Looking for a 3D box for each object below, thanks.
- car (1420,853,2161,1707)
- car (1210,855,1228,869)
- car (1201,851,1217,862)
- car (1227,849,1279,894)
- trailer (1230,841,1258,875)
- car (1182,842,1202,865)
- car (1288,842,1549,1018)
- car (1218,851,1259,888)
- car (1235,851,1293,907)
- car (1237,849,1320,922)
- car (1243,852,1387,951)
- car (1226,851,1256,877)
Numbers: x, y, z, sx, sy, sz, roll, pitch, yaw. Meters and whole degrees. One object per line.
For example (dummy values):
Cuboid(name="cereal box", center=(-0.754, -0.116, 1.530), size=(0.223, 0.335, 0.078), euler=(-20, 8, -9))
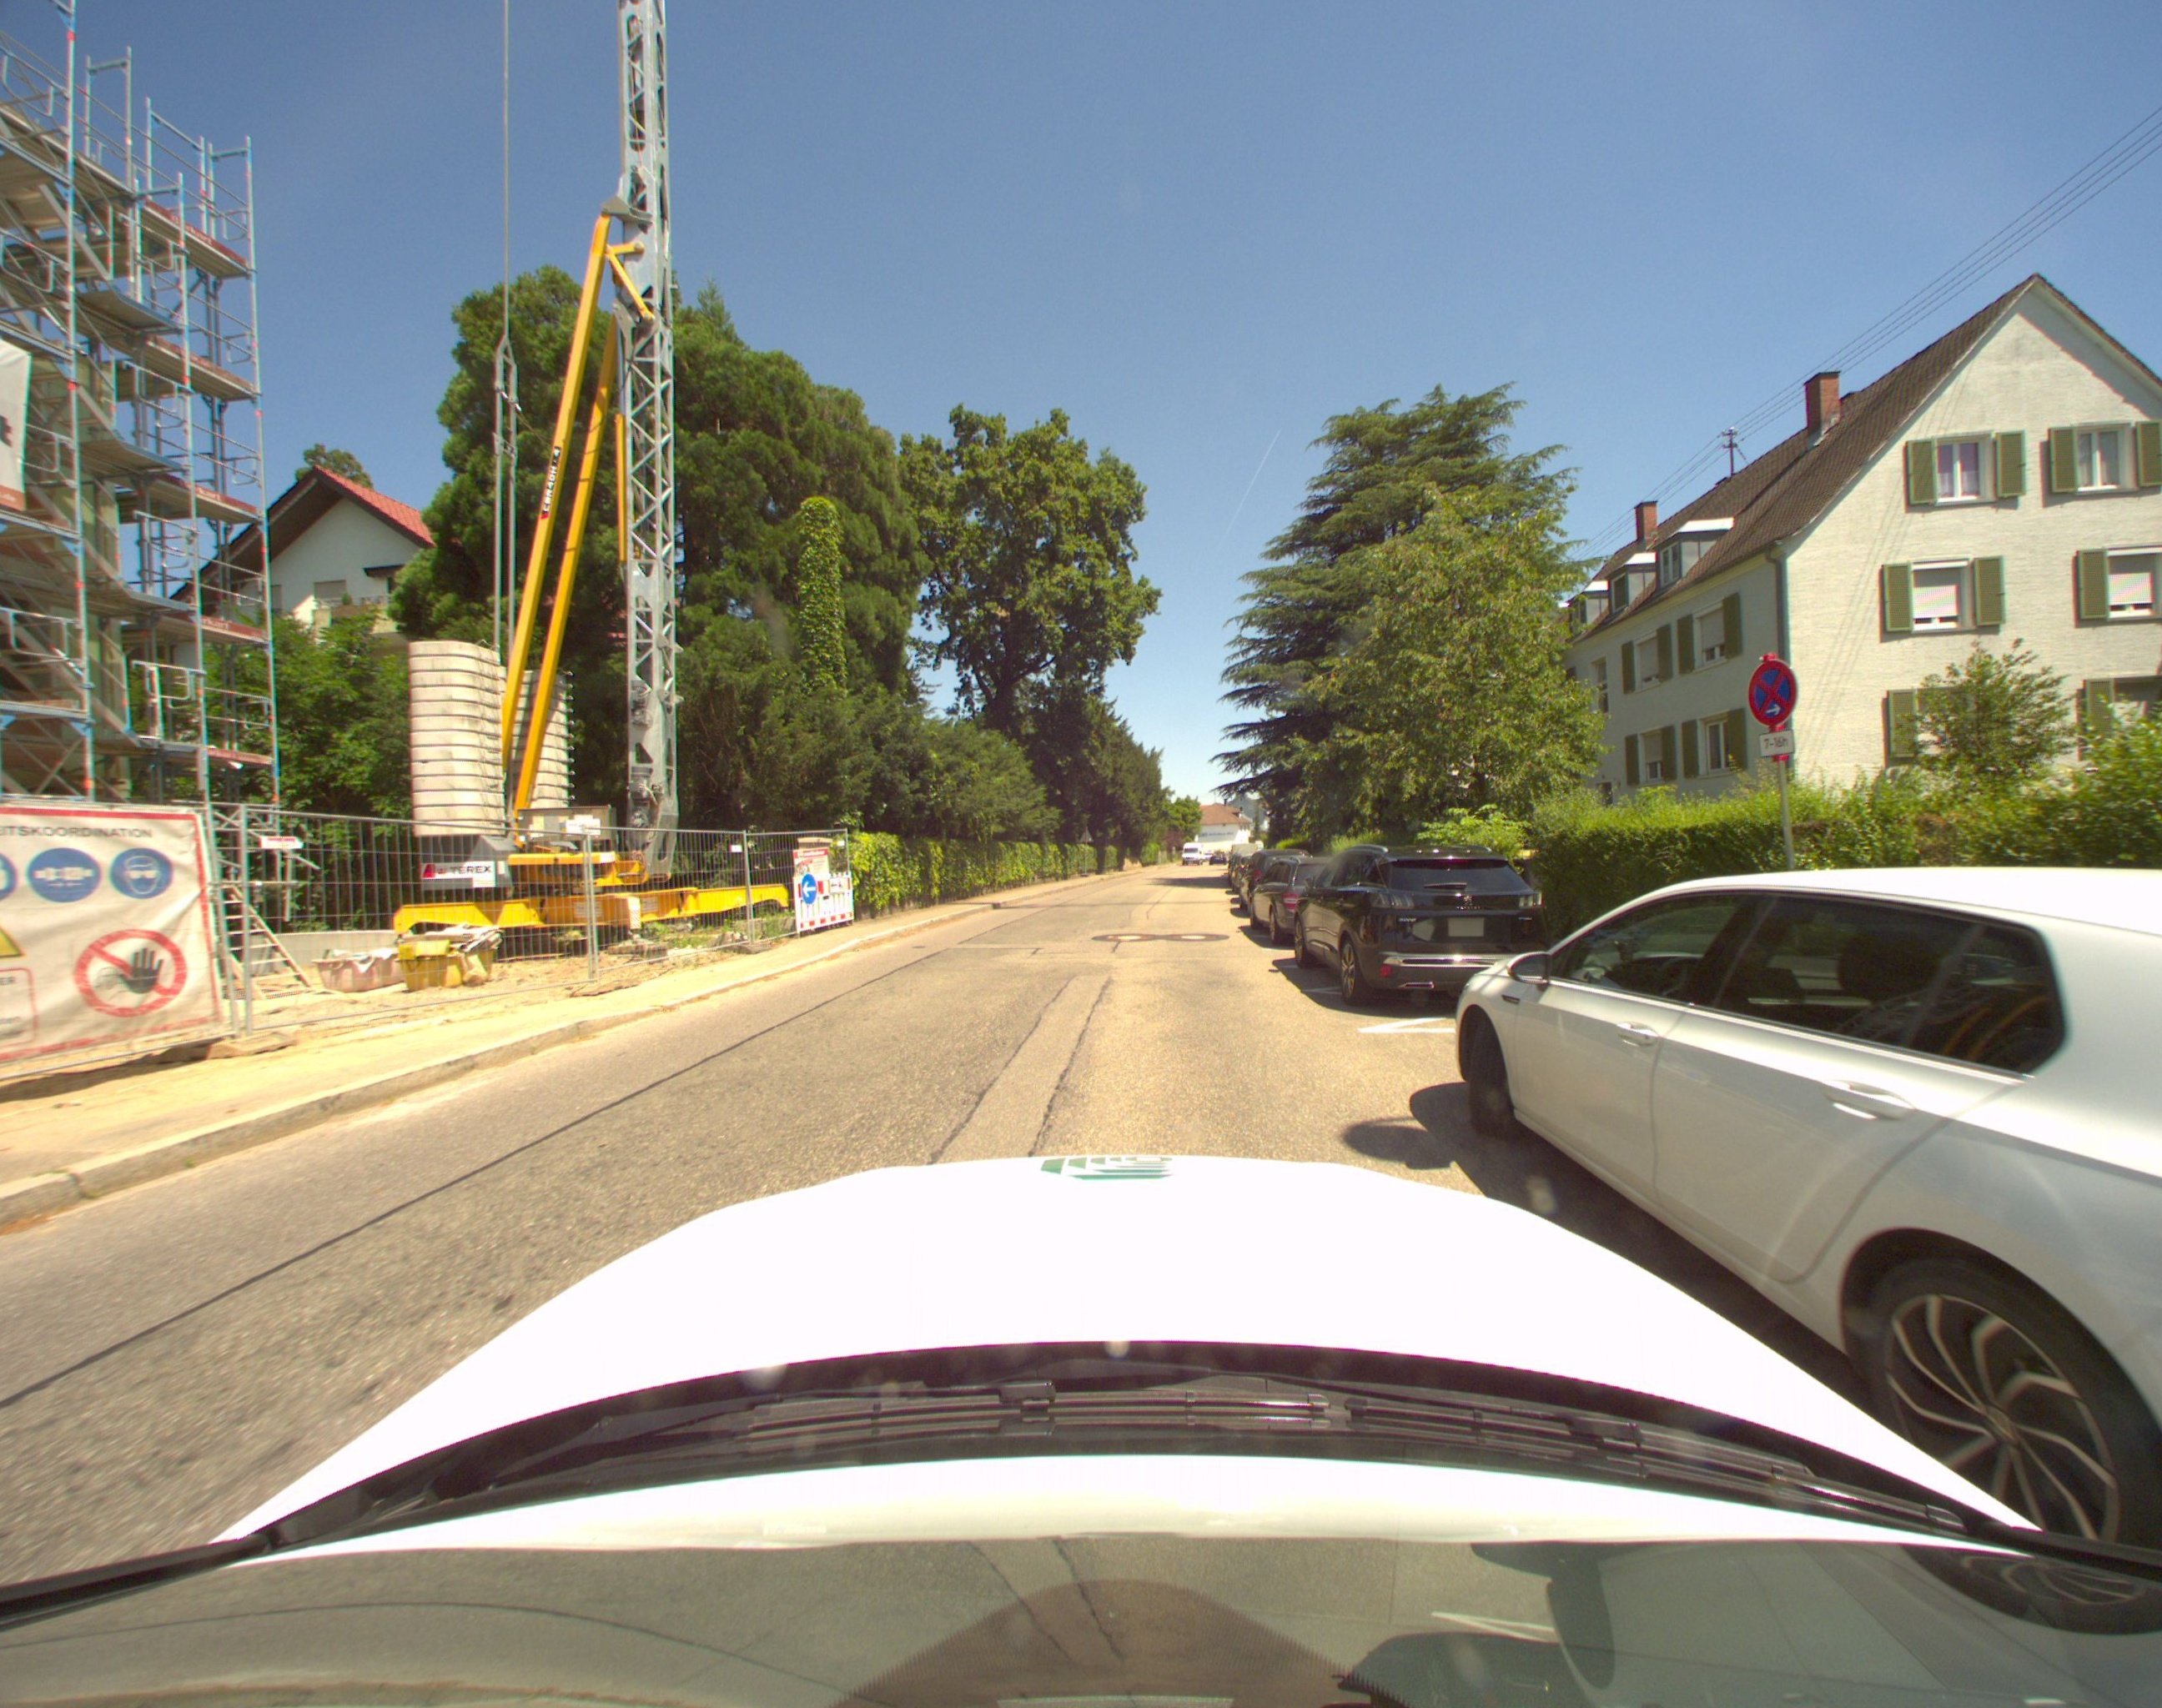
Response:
Cuboid(name="car", center=(2.782, 0.727, 3.007), size=(1.654, 1.435, 4.134), euler=(0, 0, 5))
Cuboid(name="car", center=(15.682, 0.883, 92.220), size=(1.782, 1.510, 4.014), euler=(1, 1, 12))
Cuboid(name="car", center=(18.710, 0.322, 118.730), size=(1.851, 1.383, 4.622), euler=(-2, 0, 14))
Cuboid(name="car", center=(6.356, 0.623, 30.419), size=(1.605, 1.512, 4.073), euler=(1, 0, 8))
Cuboid(name="trailer", center=(10.393, 0.243, 52.073), size=(1.670, 2.068, 3.718), euler=(-1, 1, 9))
Cuboid(name="car", center=(12.971, -0.060, 94.988), size=(1.981, 2.533, 5.911), euler=(-1, 0, 10))
Cuboid(name="car", center=(3.509, 0.681, 9.314), size=(1.653, 1.538, 4.211), euler=(-1, 0, 6))
Cuboid(name="car", center=(6.779, 0.630, 35.279), size=(1.605, 1.451, 4.386), euler=(-2, 0, 10))
Cuboid(name="car", center=(5.594, 0.700, 25.226), size=(1.572, 1.443, 4.020), euler=(1, 2, 10))
Cuboid(name="car", center=(4.813, 0.696, 20.291), size=(1.573, 1.576, 4.017), euler=(-1, 0, 8))
Cuboid(name="car", center=(4.010, 0.728, 14.600), size=(1.654, 1.431, 4.209), euler=(-2, 0, 5))
Cuboid(name="car", center=(9.075, 0.571, 46.335), size=(1.604, 1.396, 4.271), euler=(-1, 0, 10))
